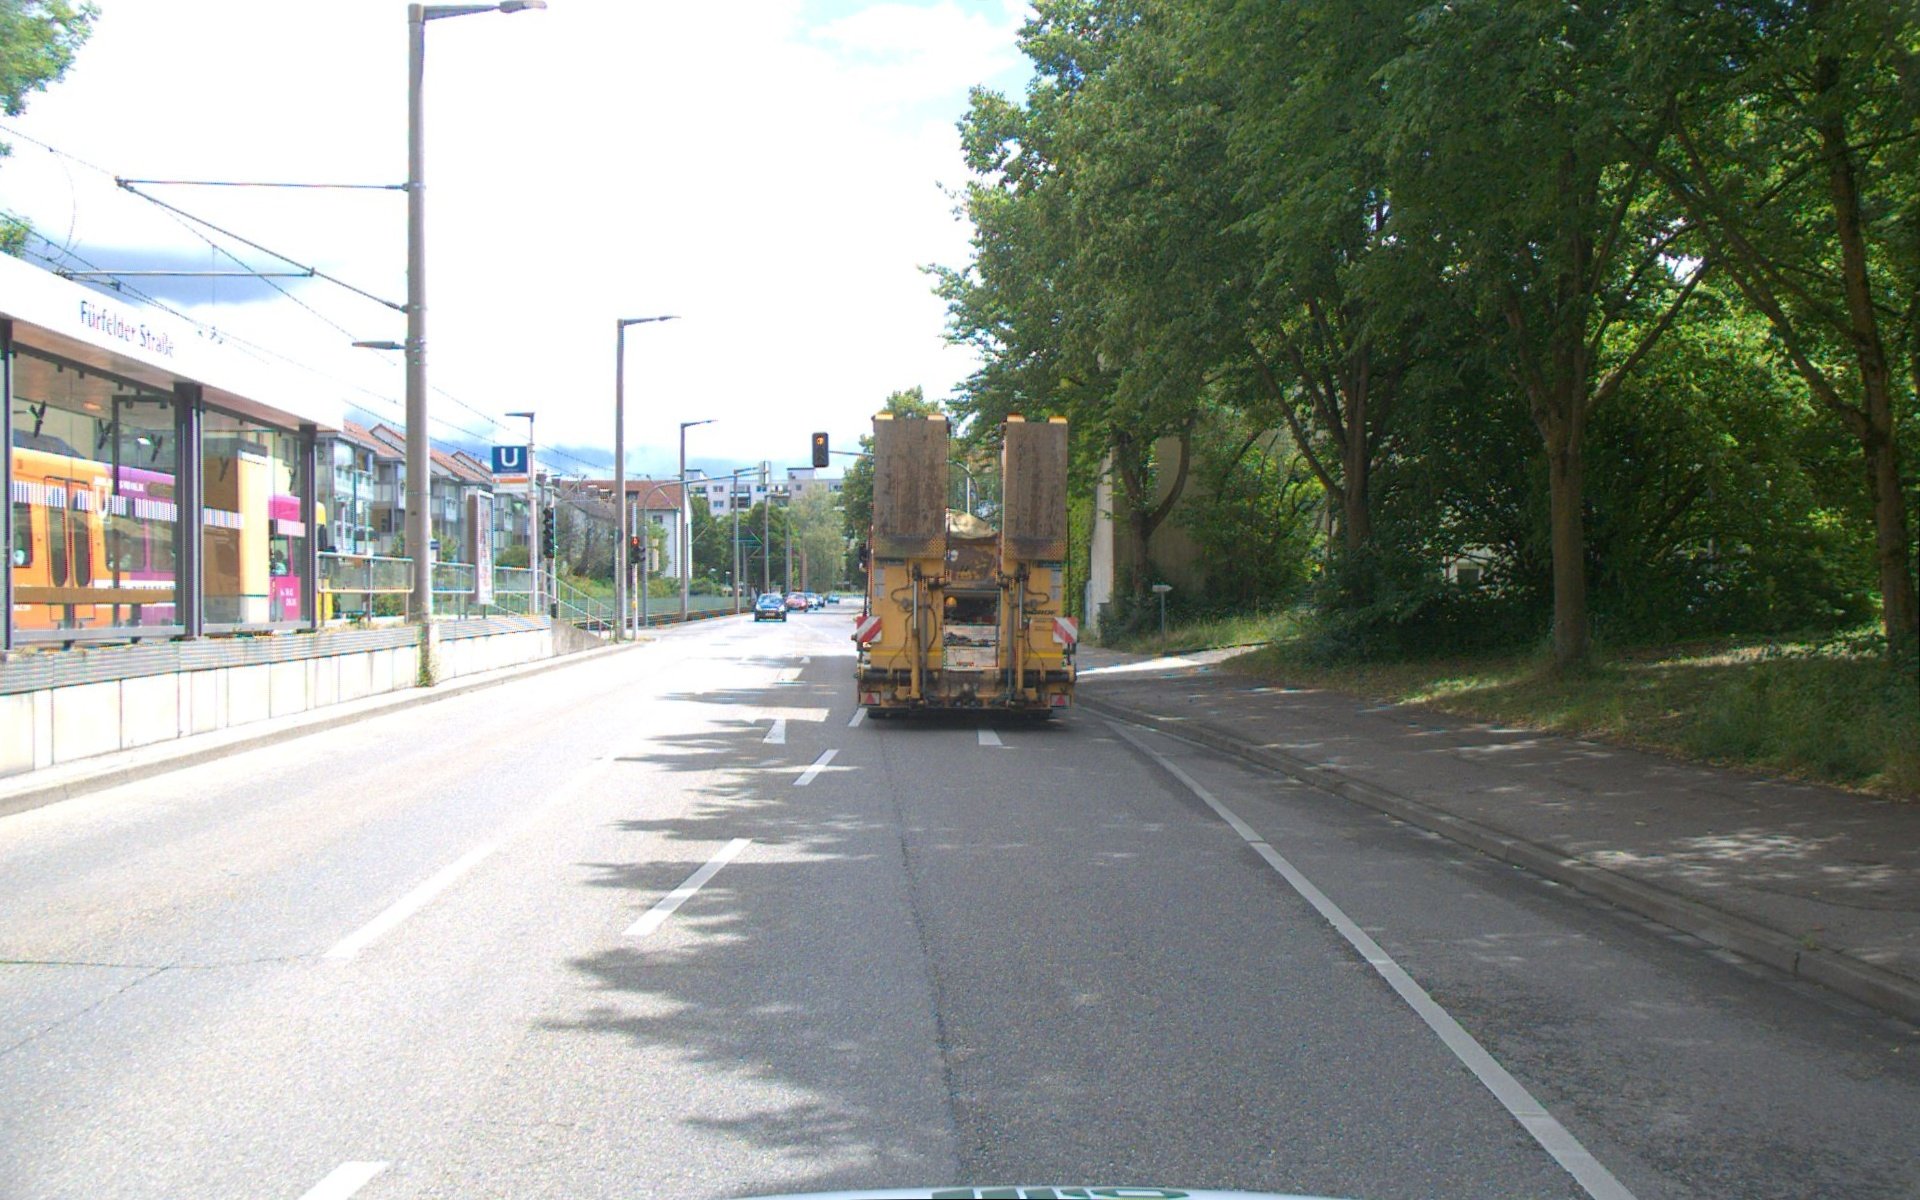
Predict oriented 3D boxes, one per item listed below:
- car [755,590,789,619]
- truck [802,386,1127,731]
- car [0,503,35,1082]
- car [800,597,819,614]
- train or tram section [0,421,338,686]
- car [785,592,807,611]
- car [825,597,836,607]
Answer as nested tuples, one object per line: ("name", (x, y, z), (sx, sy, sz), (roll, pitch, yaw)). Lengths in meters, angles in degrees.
("car", (-10.043, 0.253, 88.406), (1.634, 1.478, 3.675), (1, -1, -5))
("truck", (-0.580, -0.505, 25.192), (3.337, 3.797, 13.718), (0, 0, -7))
("car", (-3.525, 0.563, 2.784), (1.687, 1.712, 4.384), (1, 0, -4))
("car", (-13.559, 0.473, 149.101), (1.634, 1.478, 3.675), (1, -1, -5))
("train or tram section", (-14.750, -0.670, 27.431), (3.047, 3.525, 19.072), (1, 0, -4))
("car", (-13.234, 0.152, 133.314), (1.634, 1.478, 3.675), (1, -1, -5))
("car", (-18.714, 0.311, 239.325), (1.634, 1.478, 3.675), (1, -1, -5))
